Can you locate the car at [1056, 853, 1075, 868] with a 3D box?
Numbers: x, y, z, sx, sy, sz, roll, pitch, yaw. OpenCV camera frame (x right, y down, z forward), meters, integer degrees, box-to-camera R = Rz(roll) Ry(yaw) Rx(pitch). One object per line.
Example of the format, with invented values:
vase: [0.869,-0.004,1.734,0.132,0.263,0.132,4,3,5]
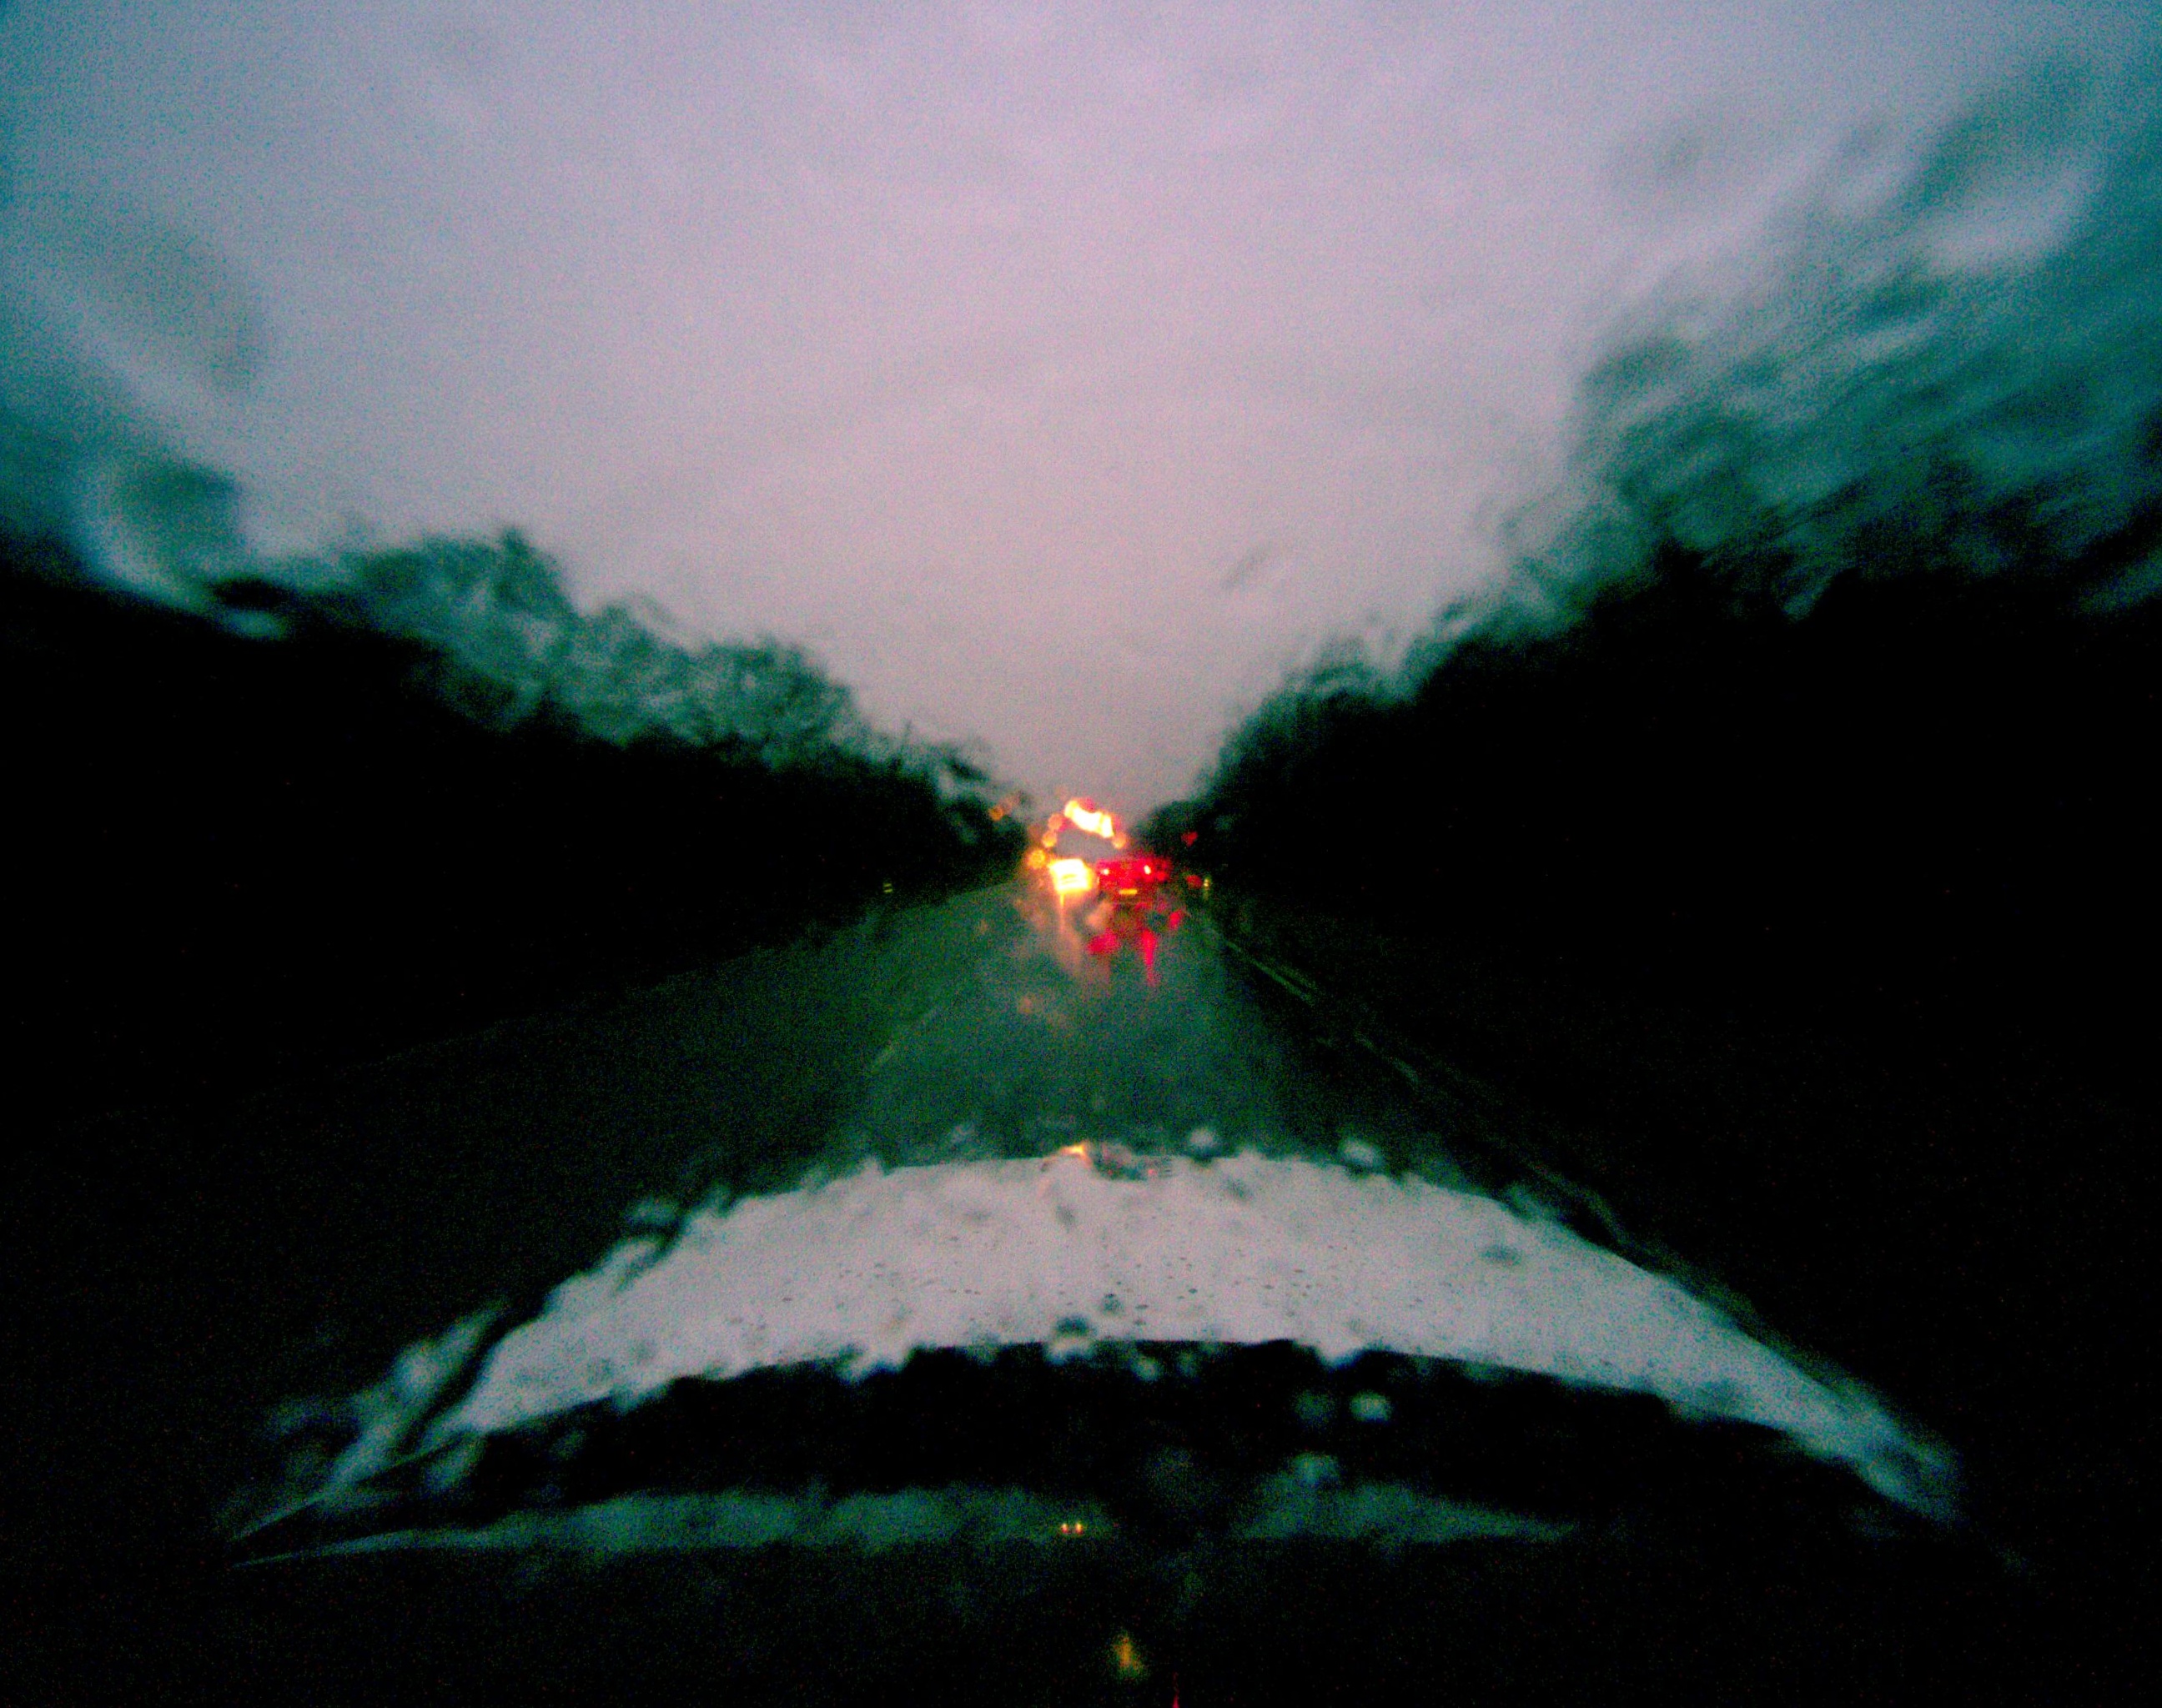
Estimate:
car: [-1.577,0.633,85.692,1.692,1.495,5.666,-1,0,2]

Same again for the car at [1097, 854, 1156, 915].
car: [1.311,0.851,24.228,1.642,1.672,3.515,0,0,2]

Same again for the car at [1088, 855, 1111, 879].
car: [1.431,0.974,62.667,1.727,1.779,4.001,0,0,1]
